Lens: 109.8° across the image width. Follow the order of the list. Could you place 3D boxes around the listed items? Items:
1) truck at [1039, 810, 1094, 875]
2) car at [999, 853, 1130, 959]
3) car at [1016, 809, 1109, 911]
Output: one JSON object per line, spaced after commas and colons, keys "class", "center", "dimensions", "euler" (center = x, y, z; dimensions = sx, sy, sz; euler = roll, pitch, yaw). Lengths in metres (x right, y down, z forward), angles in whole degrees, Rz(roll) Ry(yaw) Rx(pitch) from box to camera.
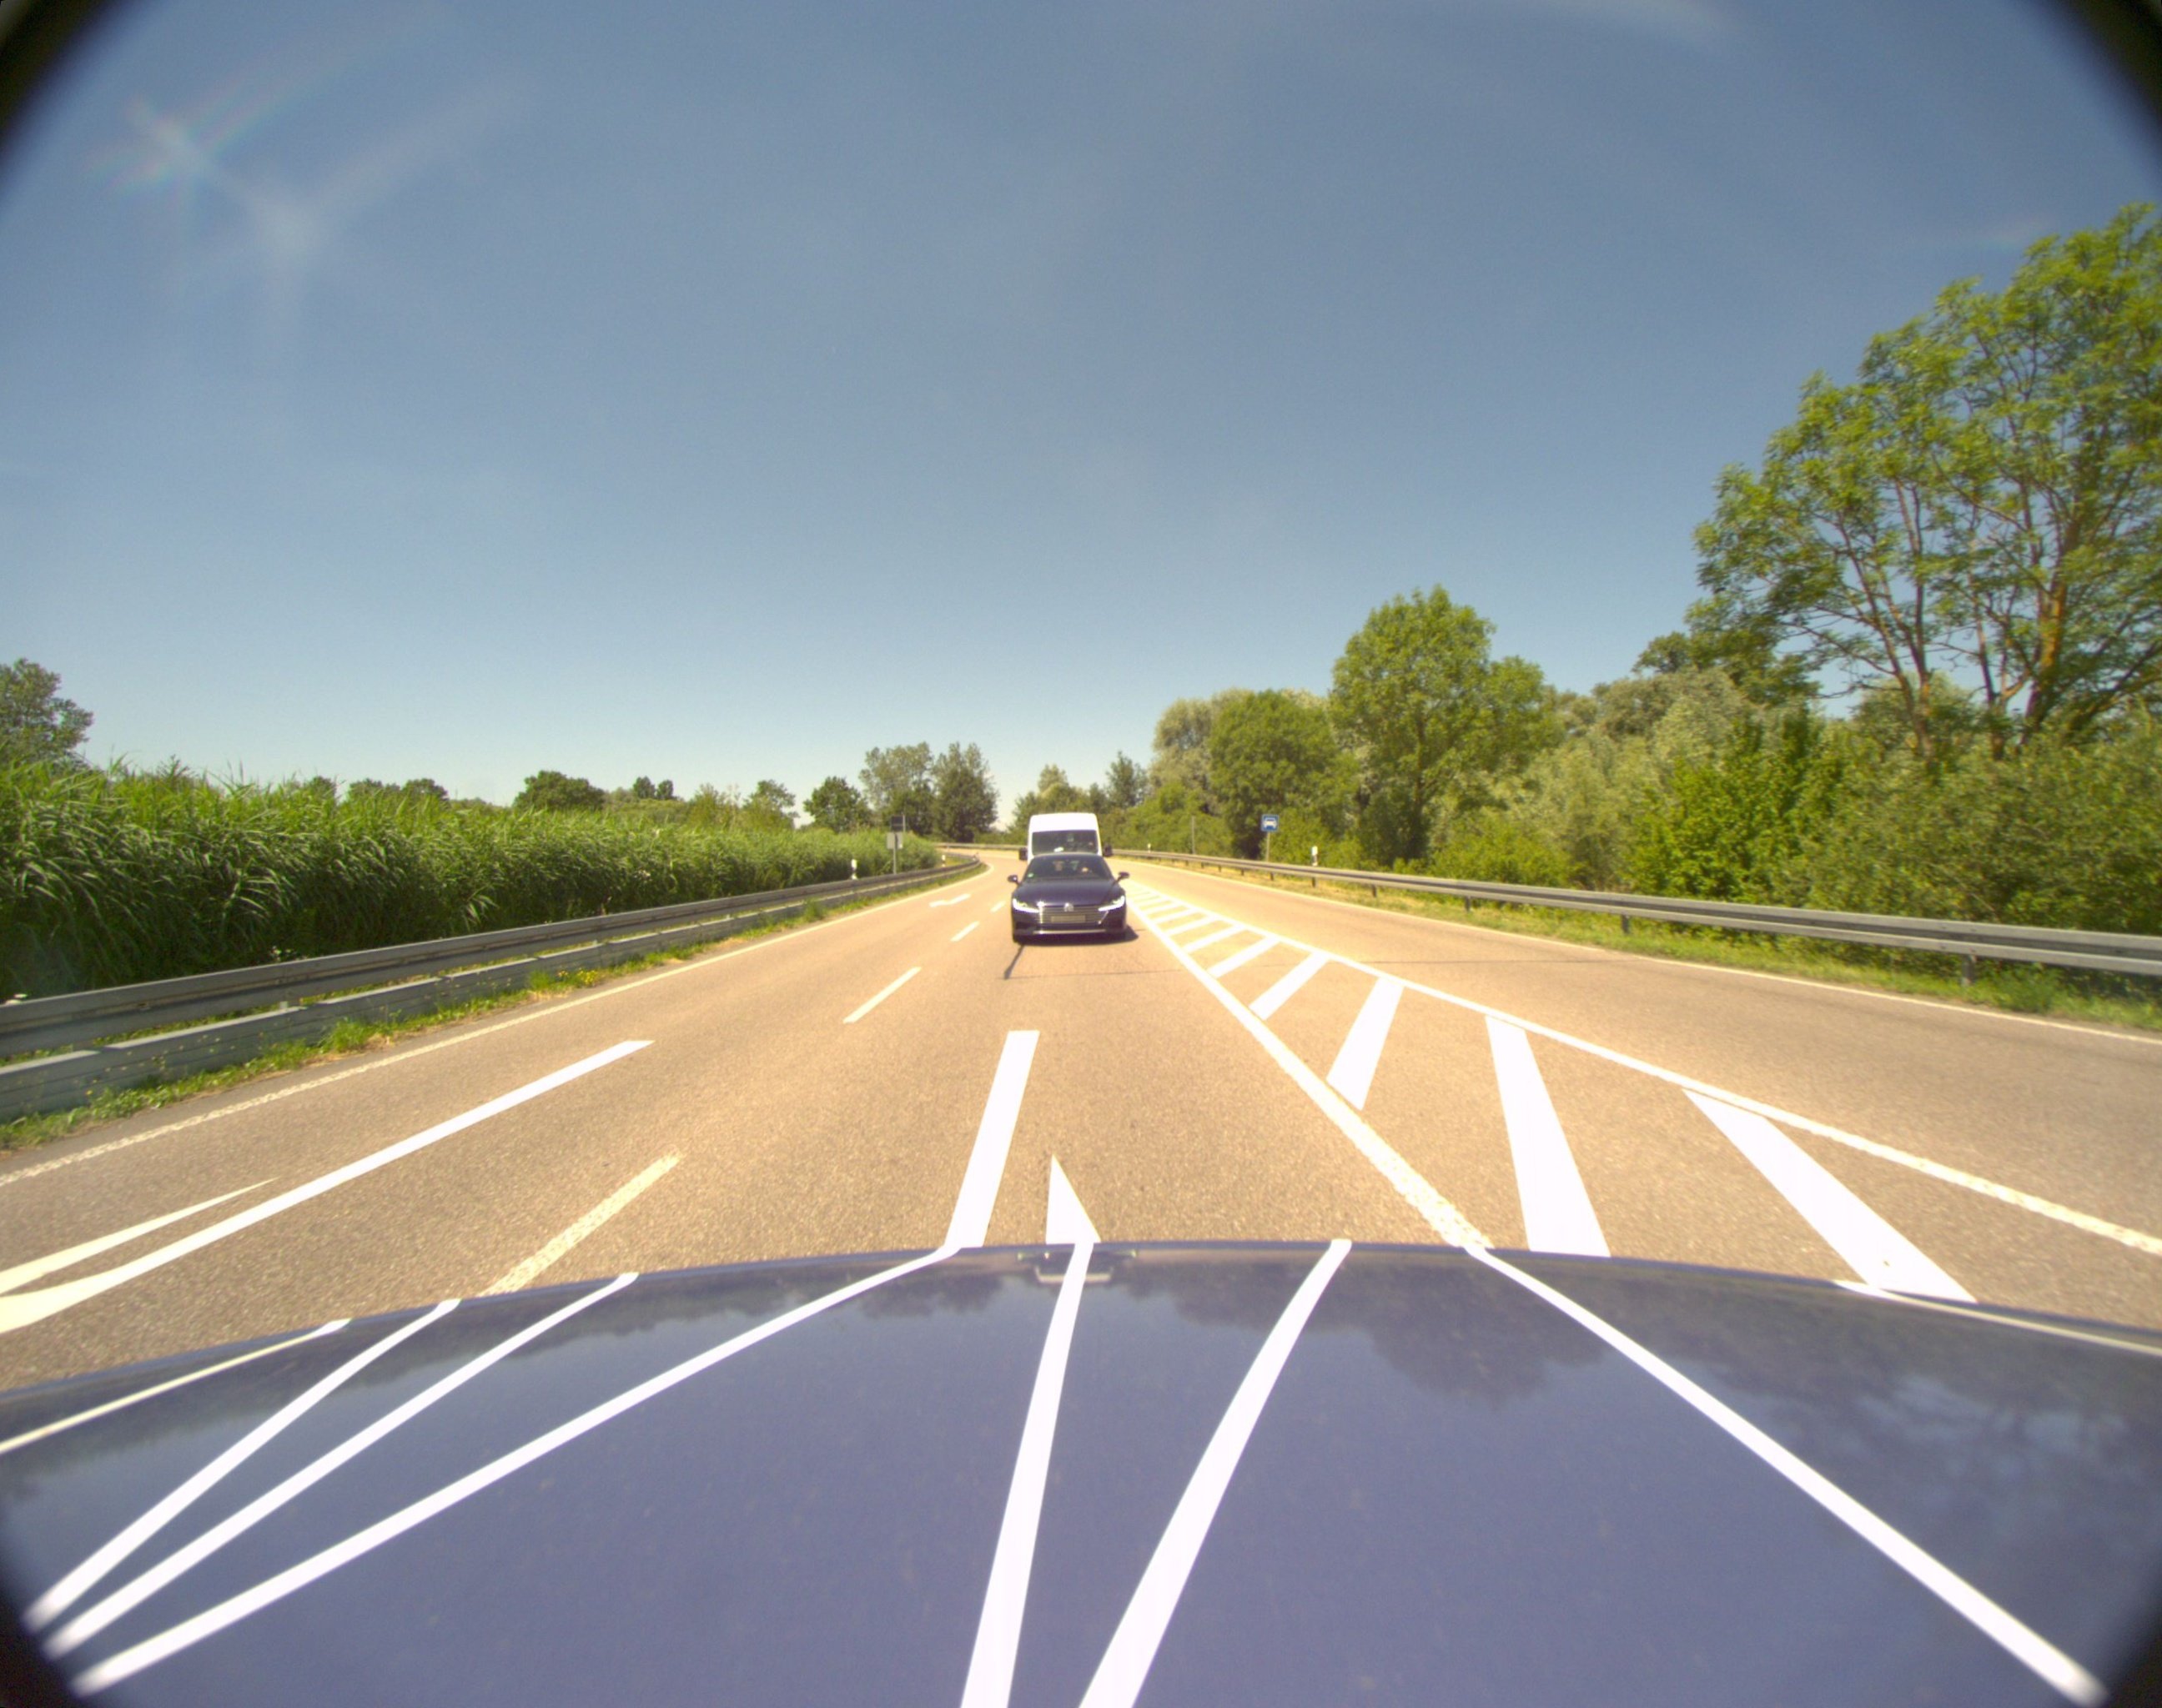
{"class": "truck", "center": [-0.946, -0.617, 42.062], "dimensions": [2.694, 3.177, 9.173], "euler": [-1, 1, -3]}
{"class": "car", "center": [-0.205, 0.751, 13.247], "dimensions": [1.847, 1.415, 4.562], "euler": [-2, 1, 1]}
{"class": "car", "center": [-0.422, 0.125, 22.094], "dimensions": [2.228, 2.481, 5.982], "euler": [-2, 1, 1]}
